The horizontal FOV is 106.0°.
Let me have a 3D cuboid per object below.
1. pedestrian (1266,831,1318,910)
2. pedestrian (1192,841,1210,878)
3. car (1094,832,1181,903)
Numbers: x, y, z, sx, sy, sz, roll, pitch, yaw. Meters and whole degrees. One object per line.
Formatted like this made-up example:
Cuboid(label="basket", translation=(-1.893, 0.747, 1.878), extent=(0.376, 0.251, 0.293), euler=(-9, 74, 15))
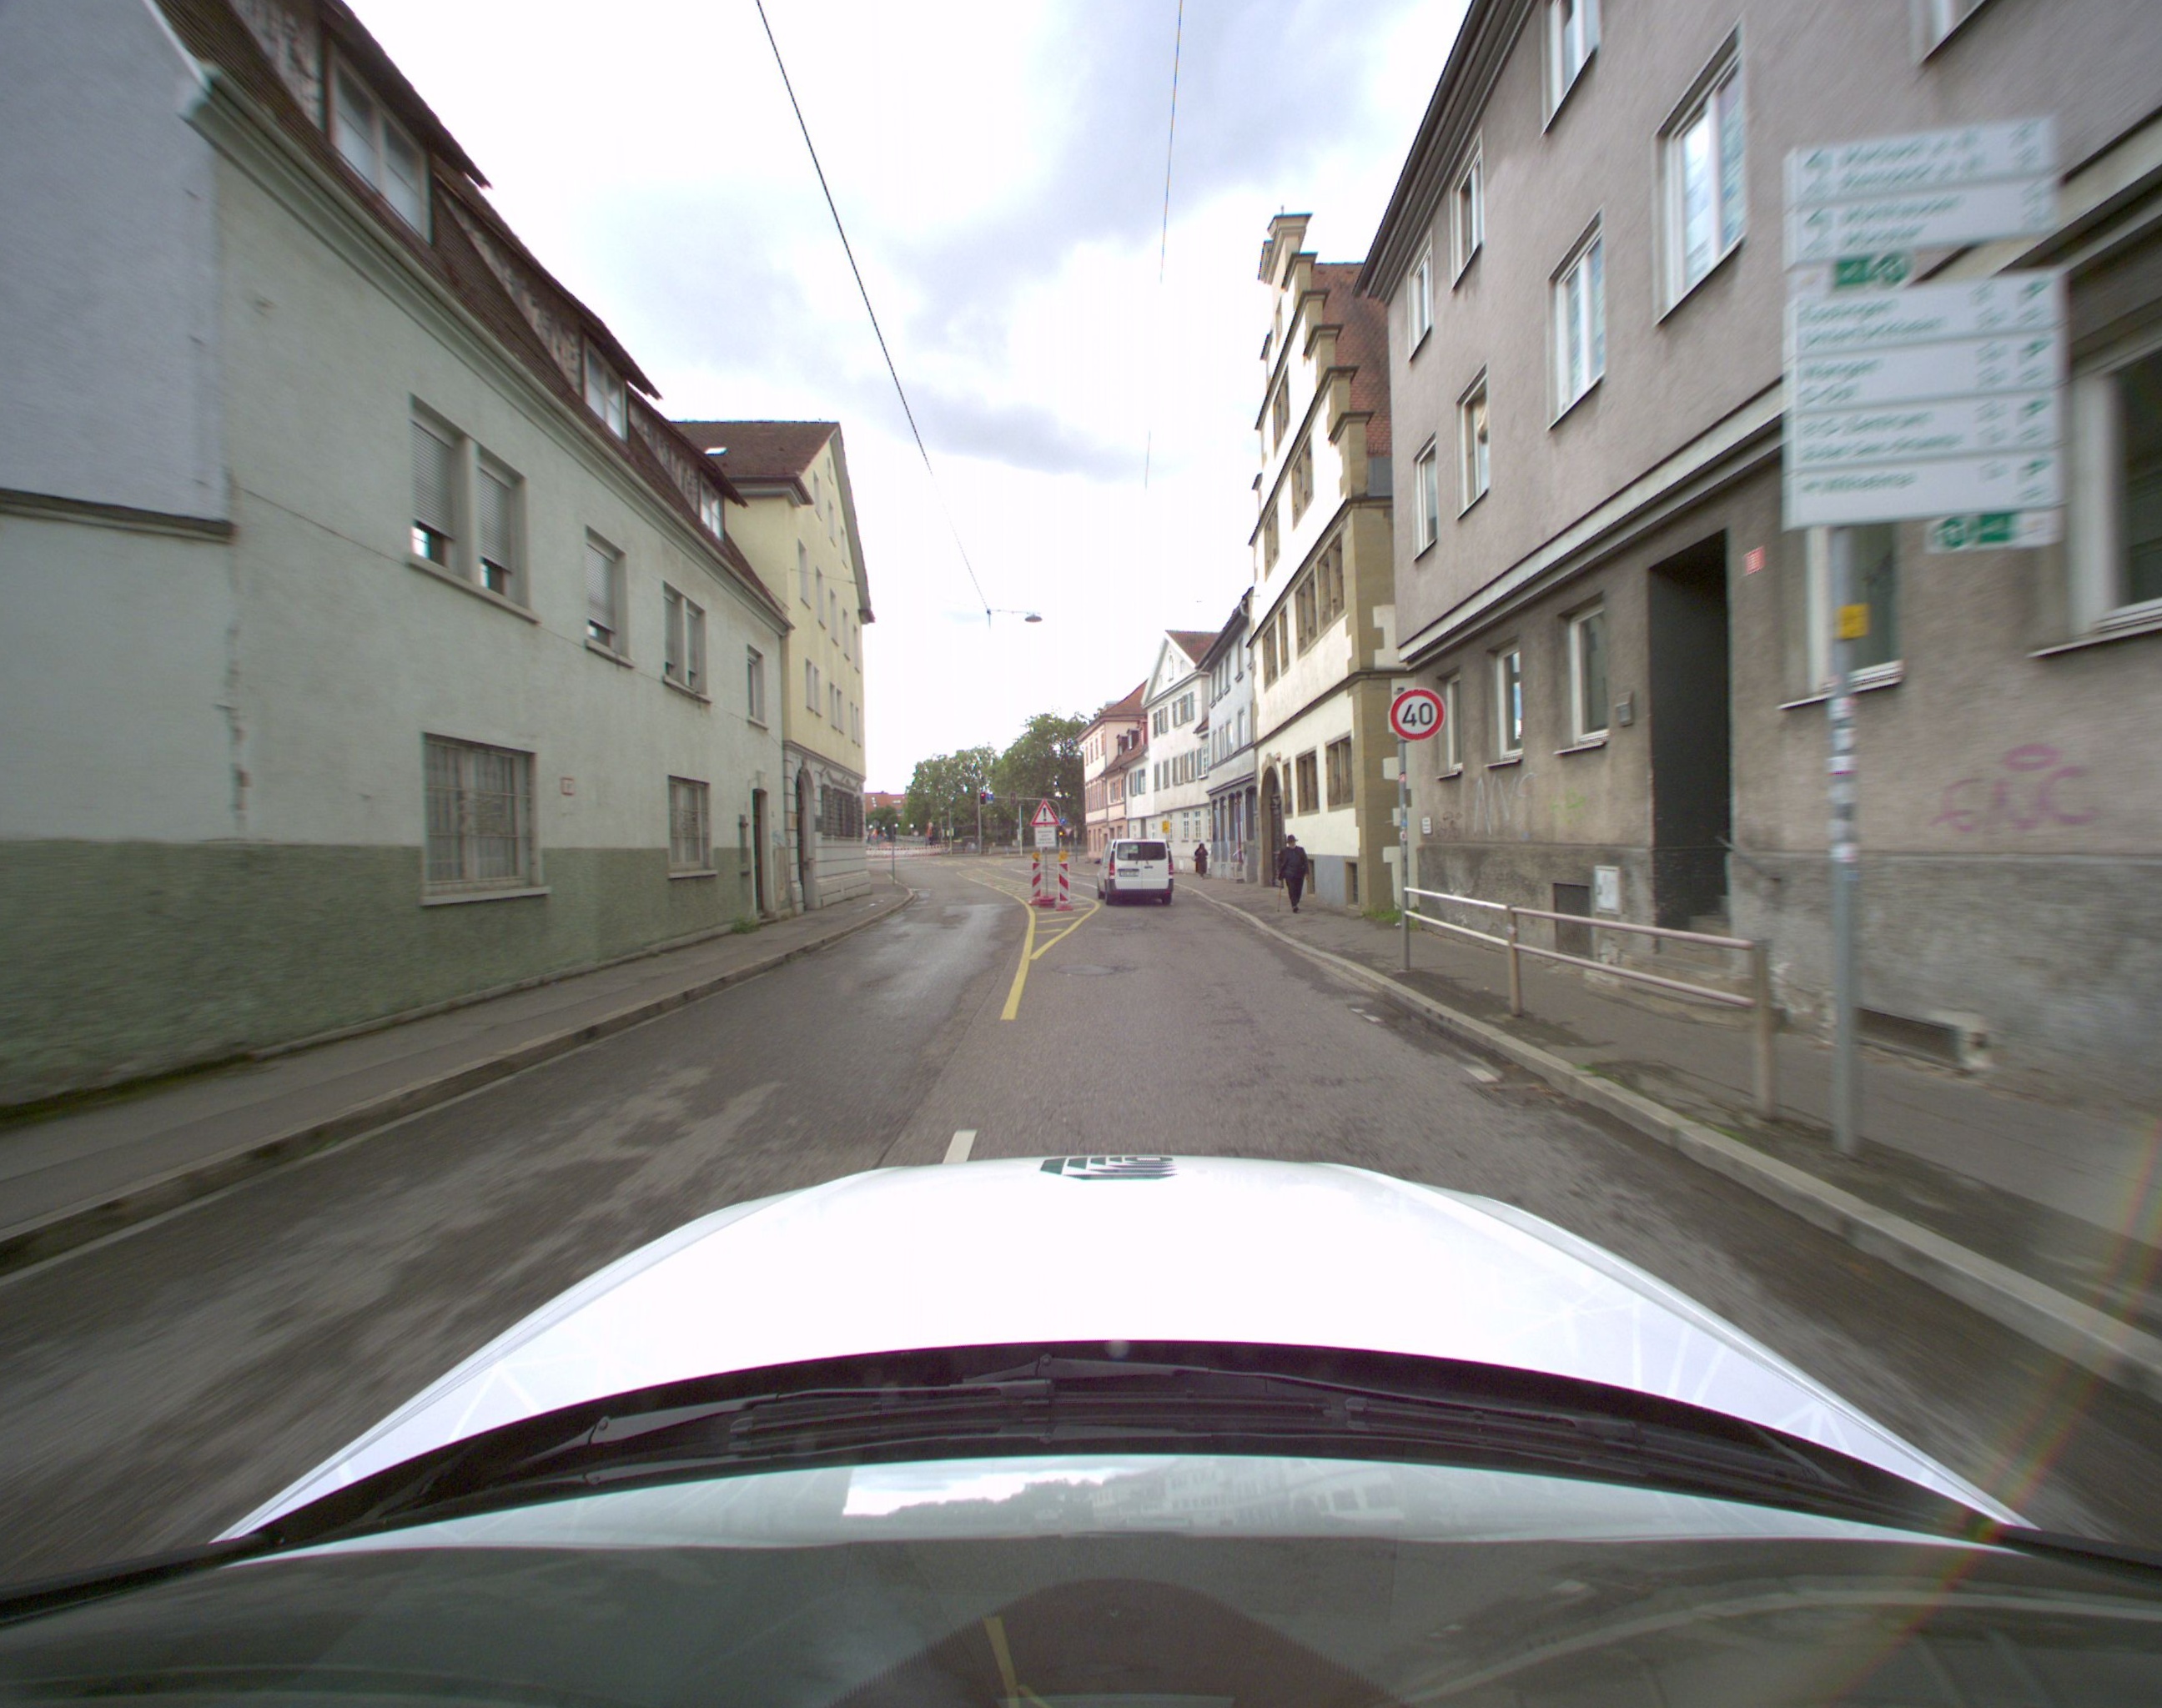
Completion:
Cuboid(label="pedestrian", translation=(4.648, 0.354, 17.985), extent=(0.828, 1.655, 0.945), euler=(-4, -1, 3))
Cuboid(label="pedestrian", translation=(5.472, 0.250, 37.181), extent=(0.752, 1.667, 0.809), euler=(-1, 0, 2))
Cuboid(label="car", translation=(1.580, 0.394, 24.351), extent=(1.990, 1.923, 4.242), euler=(0, -1, -5))
